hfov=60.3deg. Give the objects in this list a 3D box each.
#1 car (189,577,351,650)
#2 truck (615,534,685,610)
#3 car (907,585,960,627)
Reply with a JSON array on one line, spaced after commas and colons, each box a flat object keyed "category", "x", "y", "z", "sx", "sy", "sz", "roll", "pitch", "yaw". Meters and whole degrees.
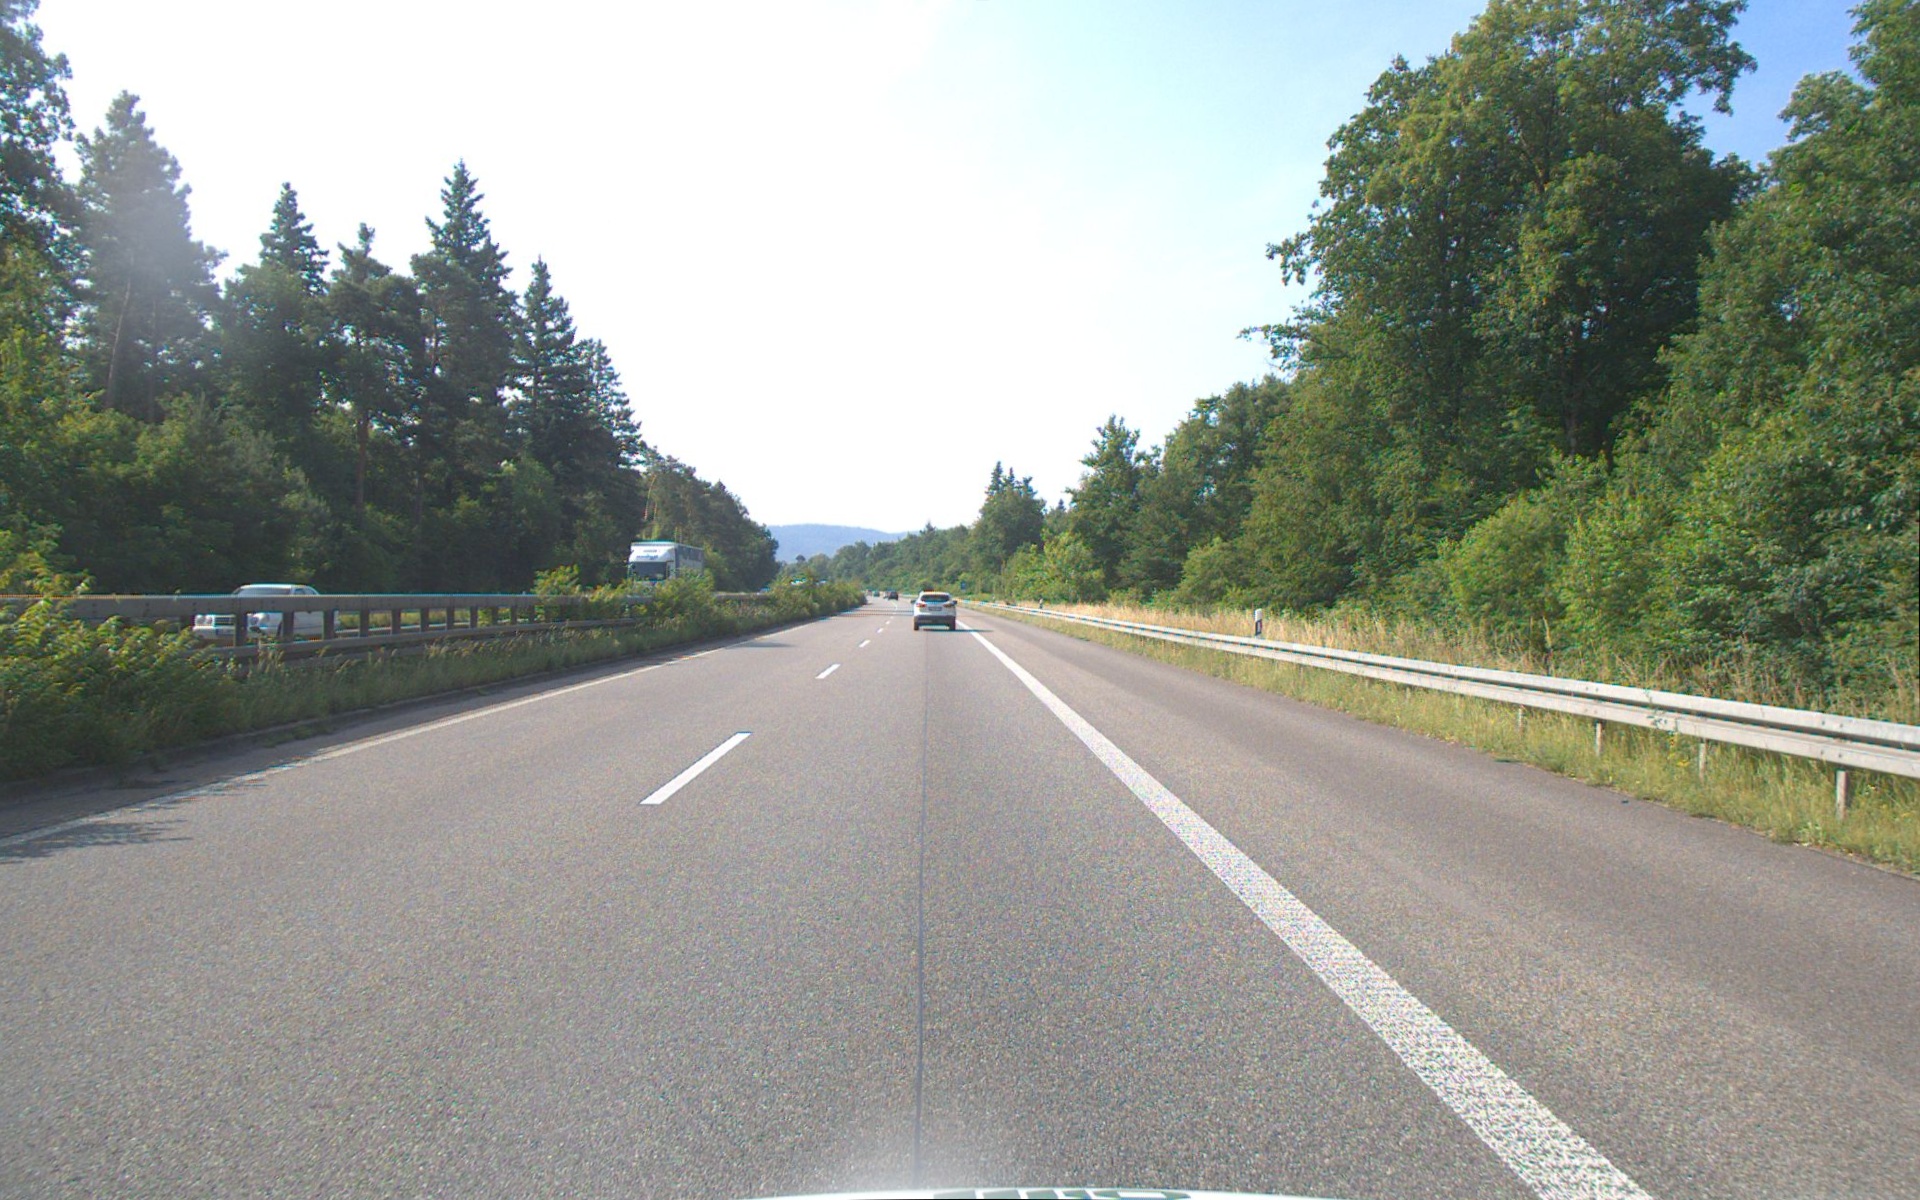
[{"category": "car", "x": -15.697, "y": 0.263, "z": 37.923, "sx": 1.715, "sy": 1.491, "sz": 4.810, "roll": 3, "pitch": 0, "yaw": -1}, {"category": "truck", "x": -17.398, "y": -1.536, "z": 93.243, "sx": 2.834, "sy": 4.102, "sz": 6.024, "roll": -1, "pitch": 0, "yaw": -1}, {"category": "car", "x": -1.145, "y": 0.221, "z": 69.863, "sx": 1.837, "sy": 1.614, "sz": 3.995, "roll": 3, "pitch": 0, "yaw": -6}]
